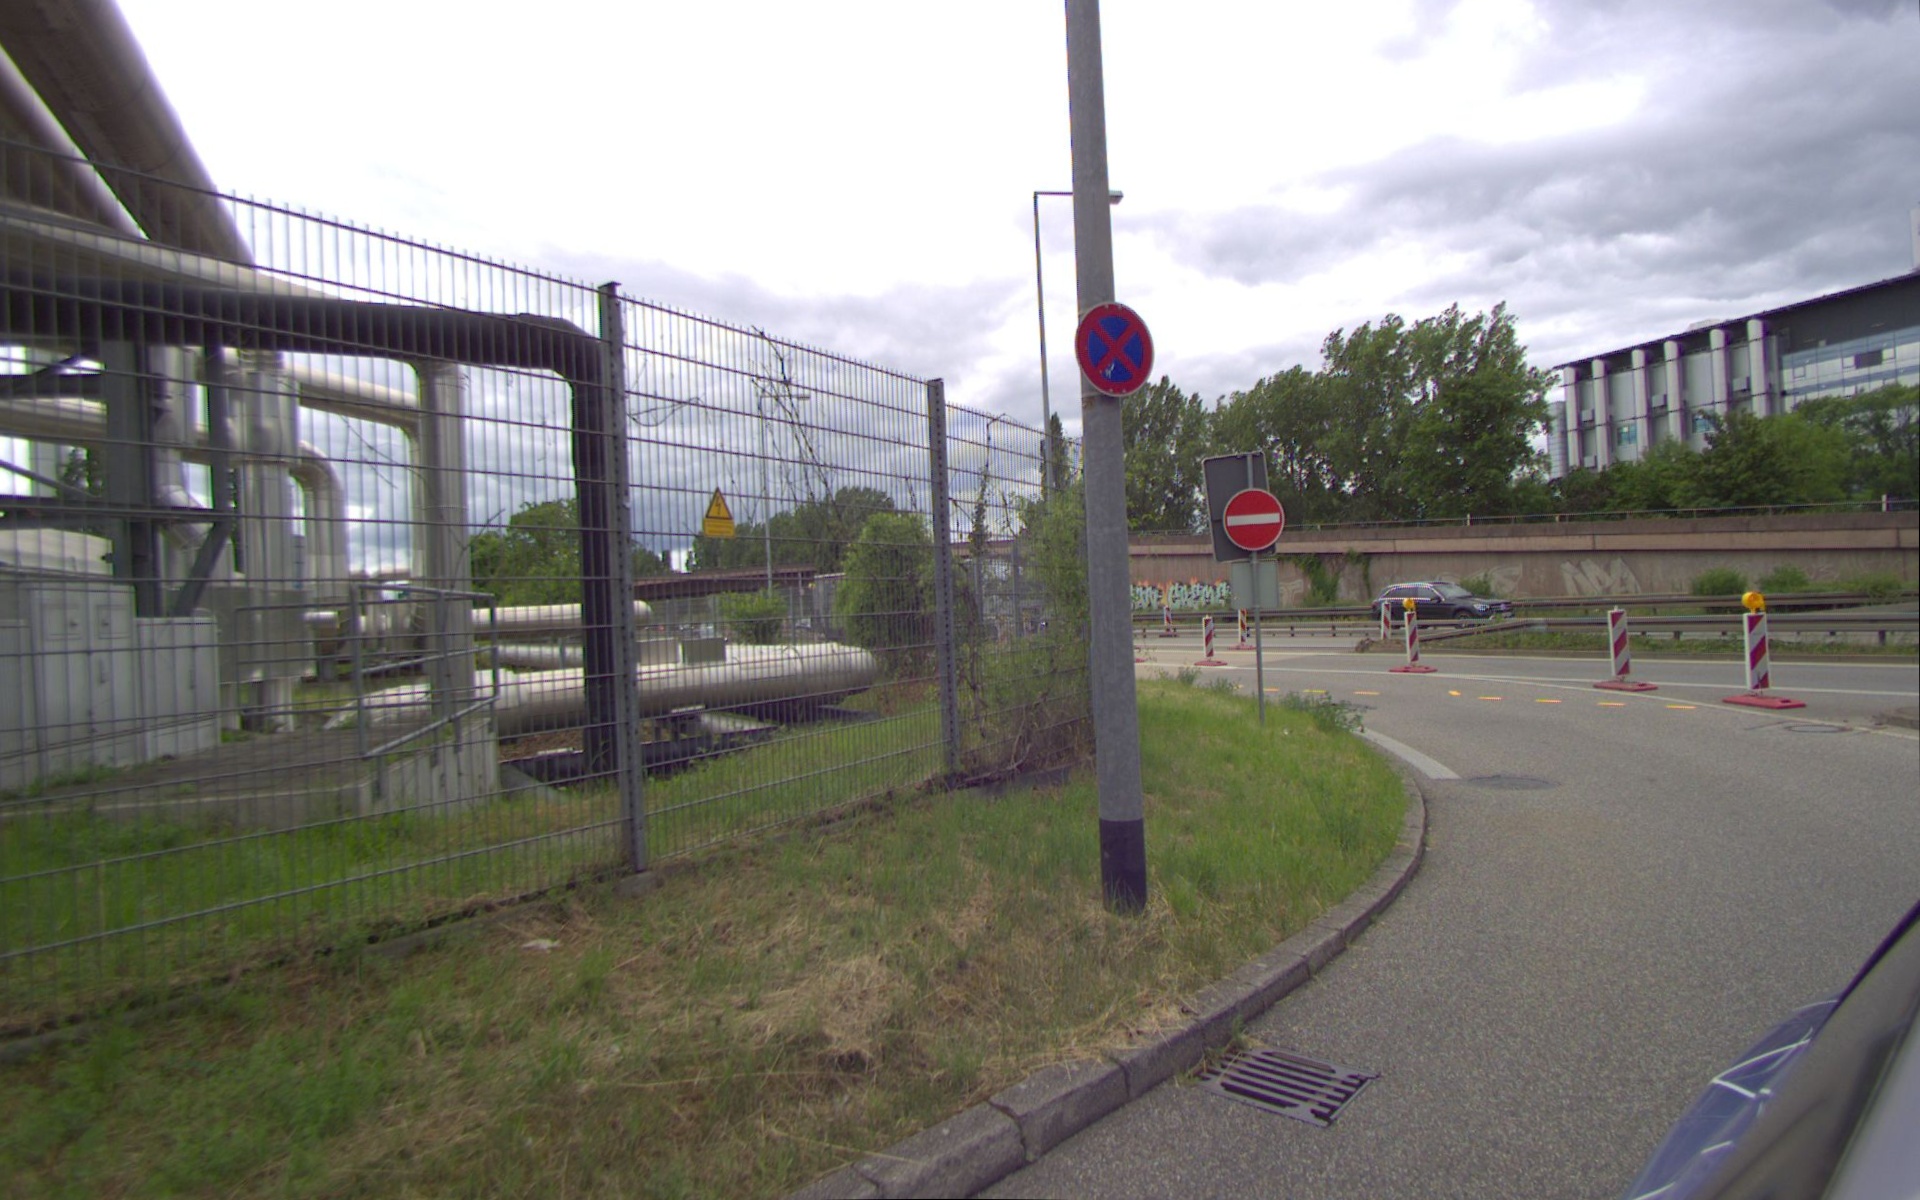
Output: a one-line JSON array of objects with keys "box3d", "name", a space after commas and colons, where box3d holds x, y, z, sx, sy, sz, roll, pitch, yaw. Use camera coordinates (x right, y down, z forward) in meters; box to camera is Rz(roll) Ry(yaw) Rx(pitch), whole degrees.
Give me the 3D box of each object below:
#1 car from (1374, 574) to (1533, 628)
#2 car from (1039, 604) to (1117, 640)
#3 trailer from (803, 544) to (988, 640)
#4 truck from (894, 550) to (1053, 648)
[{"box3d": [16.031, 0.071, 33.093, 1.942, 1.530, 4.296, -2, -1, -28], "name": "car"}, {"box3d": [5.997, 1.144, 51.944, 1.899, 1.725, 4.002, -2, -1, -31], "name": "car"}, {"box3d": [-3.904, -0.206, 55.015, 3.109, 4.377, 13.254, -5, 0, -36], "name": "trailer"}, {"box3d": [0.468, 0.057, 49.068, 3.108, 4.181, 8.133, -5, 1, -37], "name": "truck"}]
